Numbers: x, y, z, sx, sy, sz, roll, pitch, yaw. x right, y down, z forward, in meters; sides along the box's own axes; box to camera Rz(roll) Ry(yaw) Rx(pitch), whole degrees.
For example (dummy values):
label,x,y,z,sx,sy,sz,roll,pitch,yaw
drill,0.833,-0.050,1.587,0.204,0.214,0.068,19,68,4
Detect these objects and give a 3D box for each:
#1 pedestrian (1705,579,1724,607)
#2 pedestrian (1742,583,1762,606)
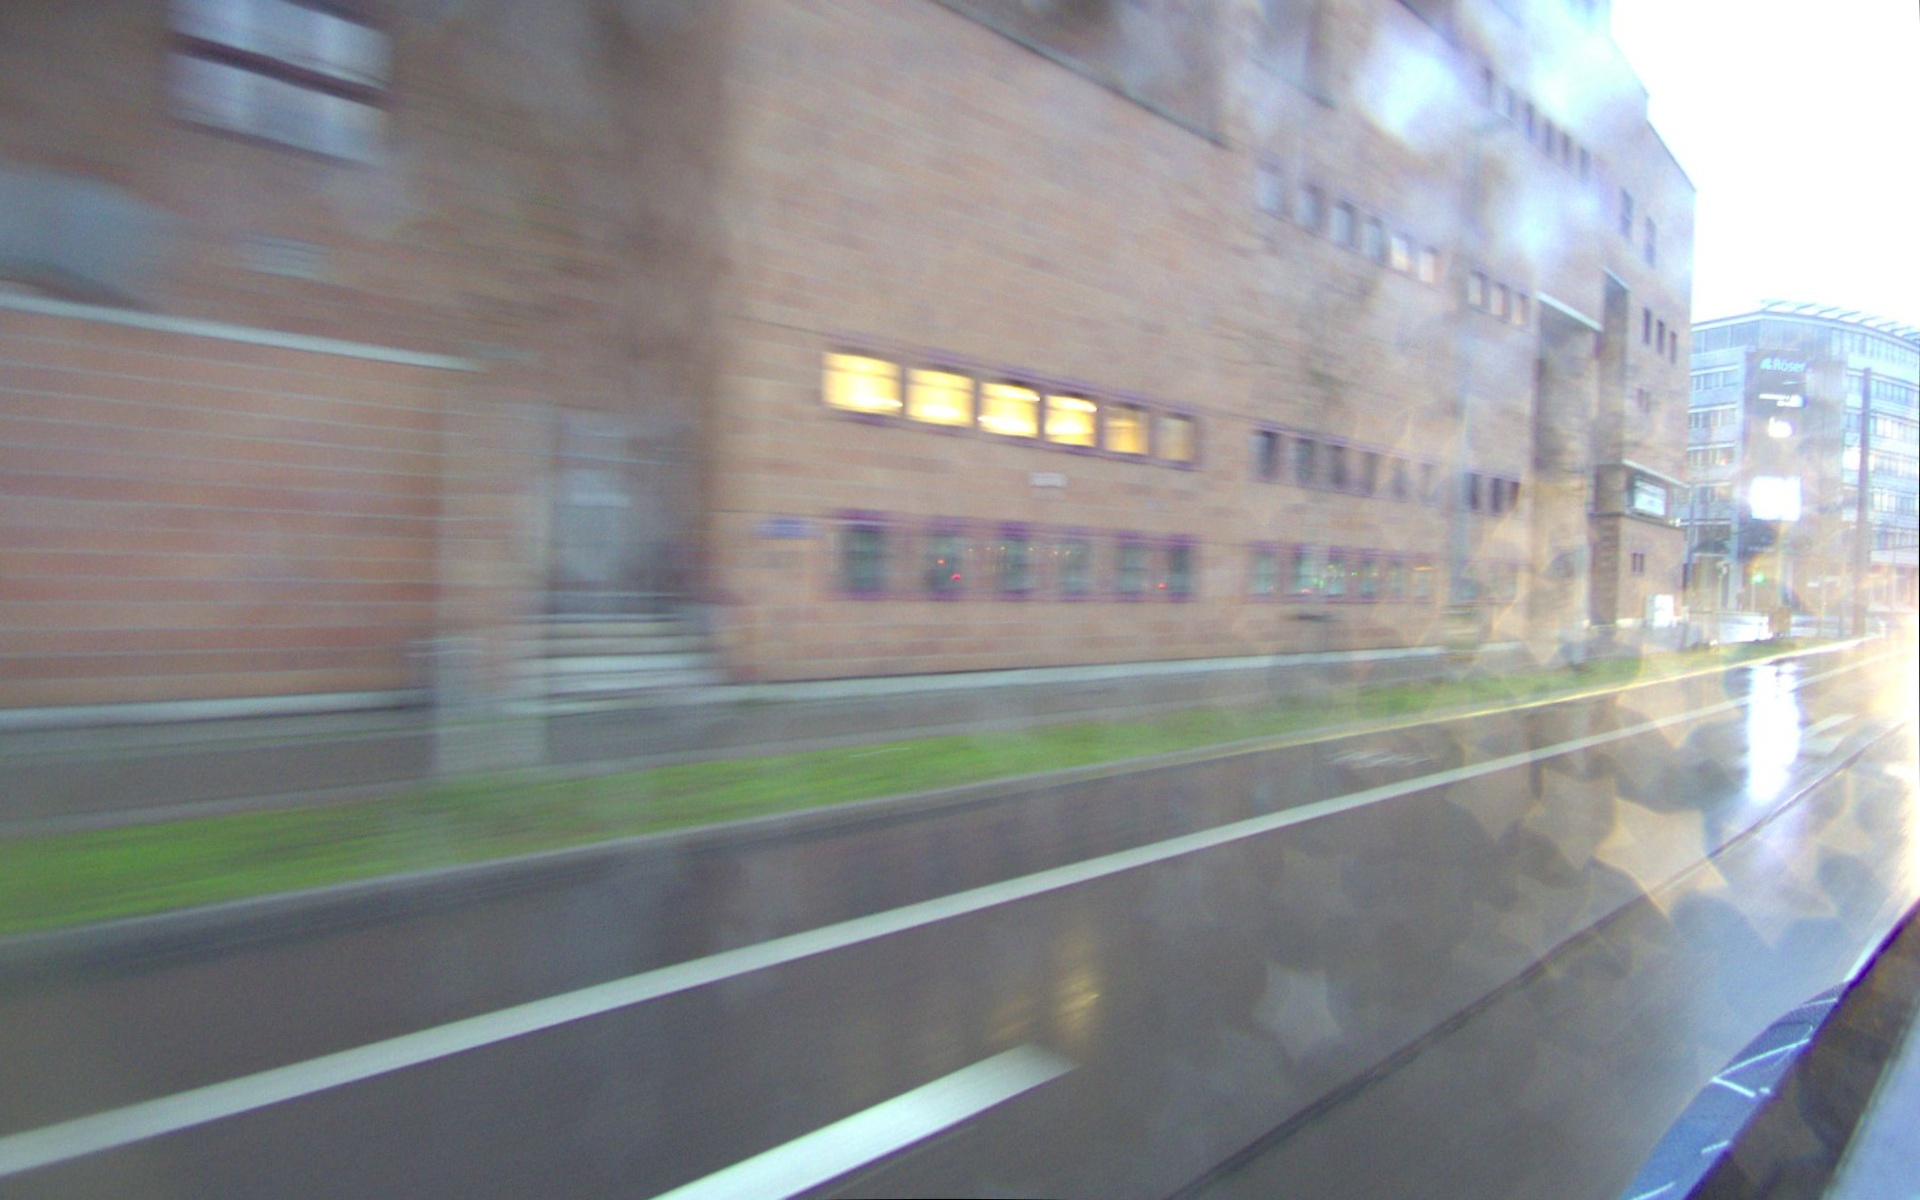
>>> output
label,x,y,z,sx,sy,sz,roll,pitch,yaw
pedestrian,50.827,-0.459,68.190,0.789,1.833,0.647,2,1,16
pedestrian,62.739,-0.448,80.152,1.147,1.809,0.766,3,2,40
